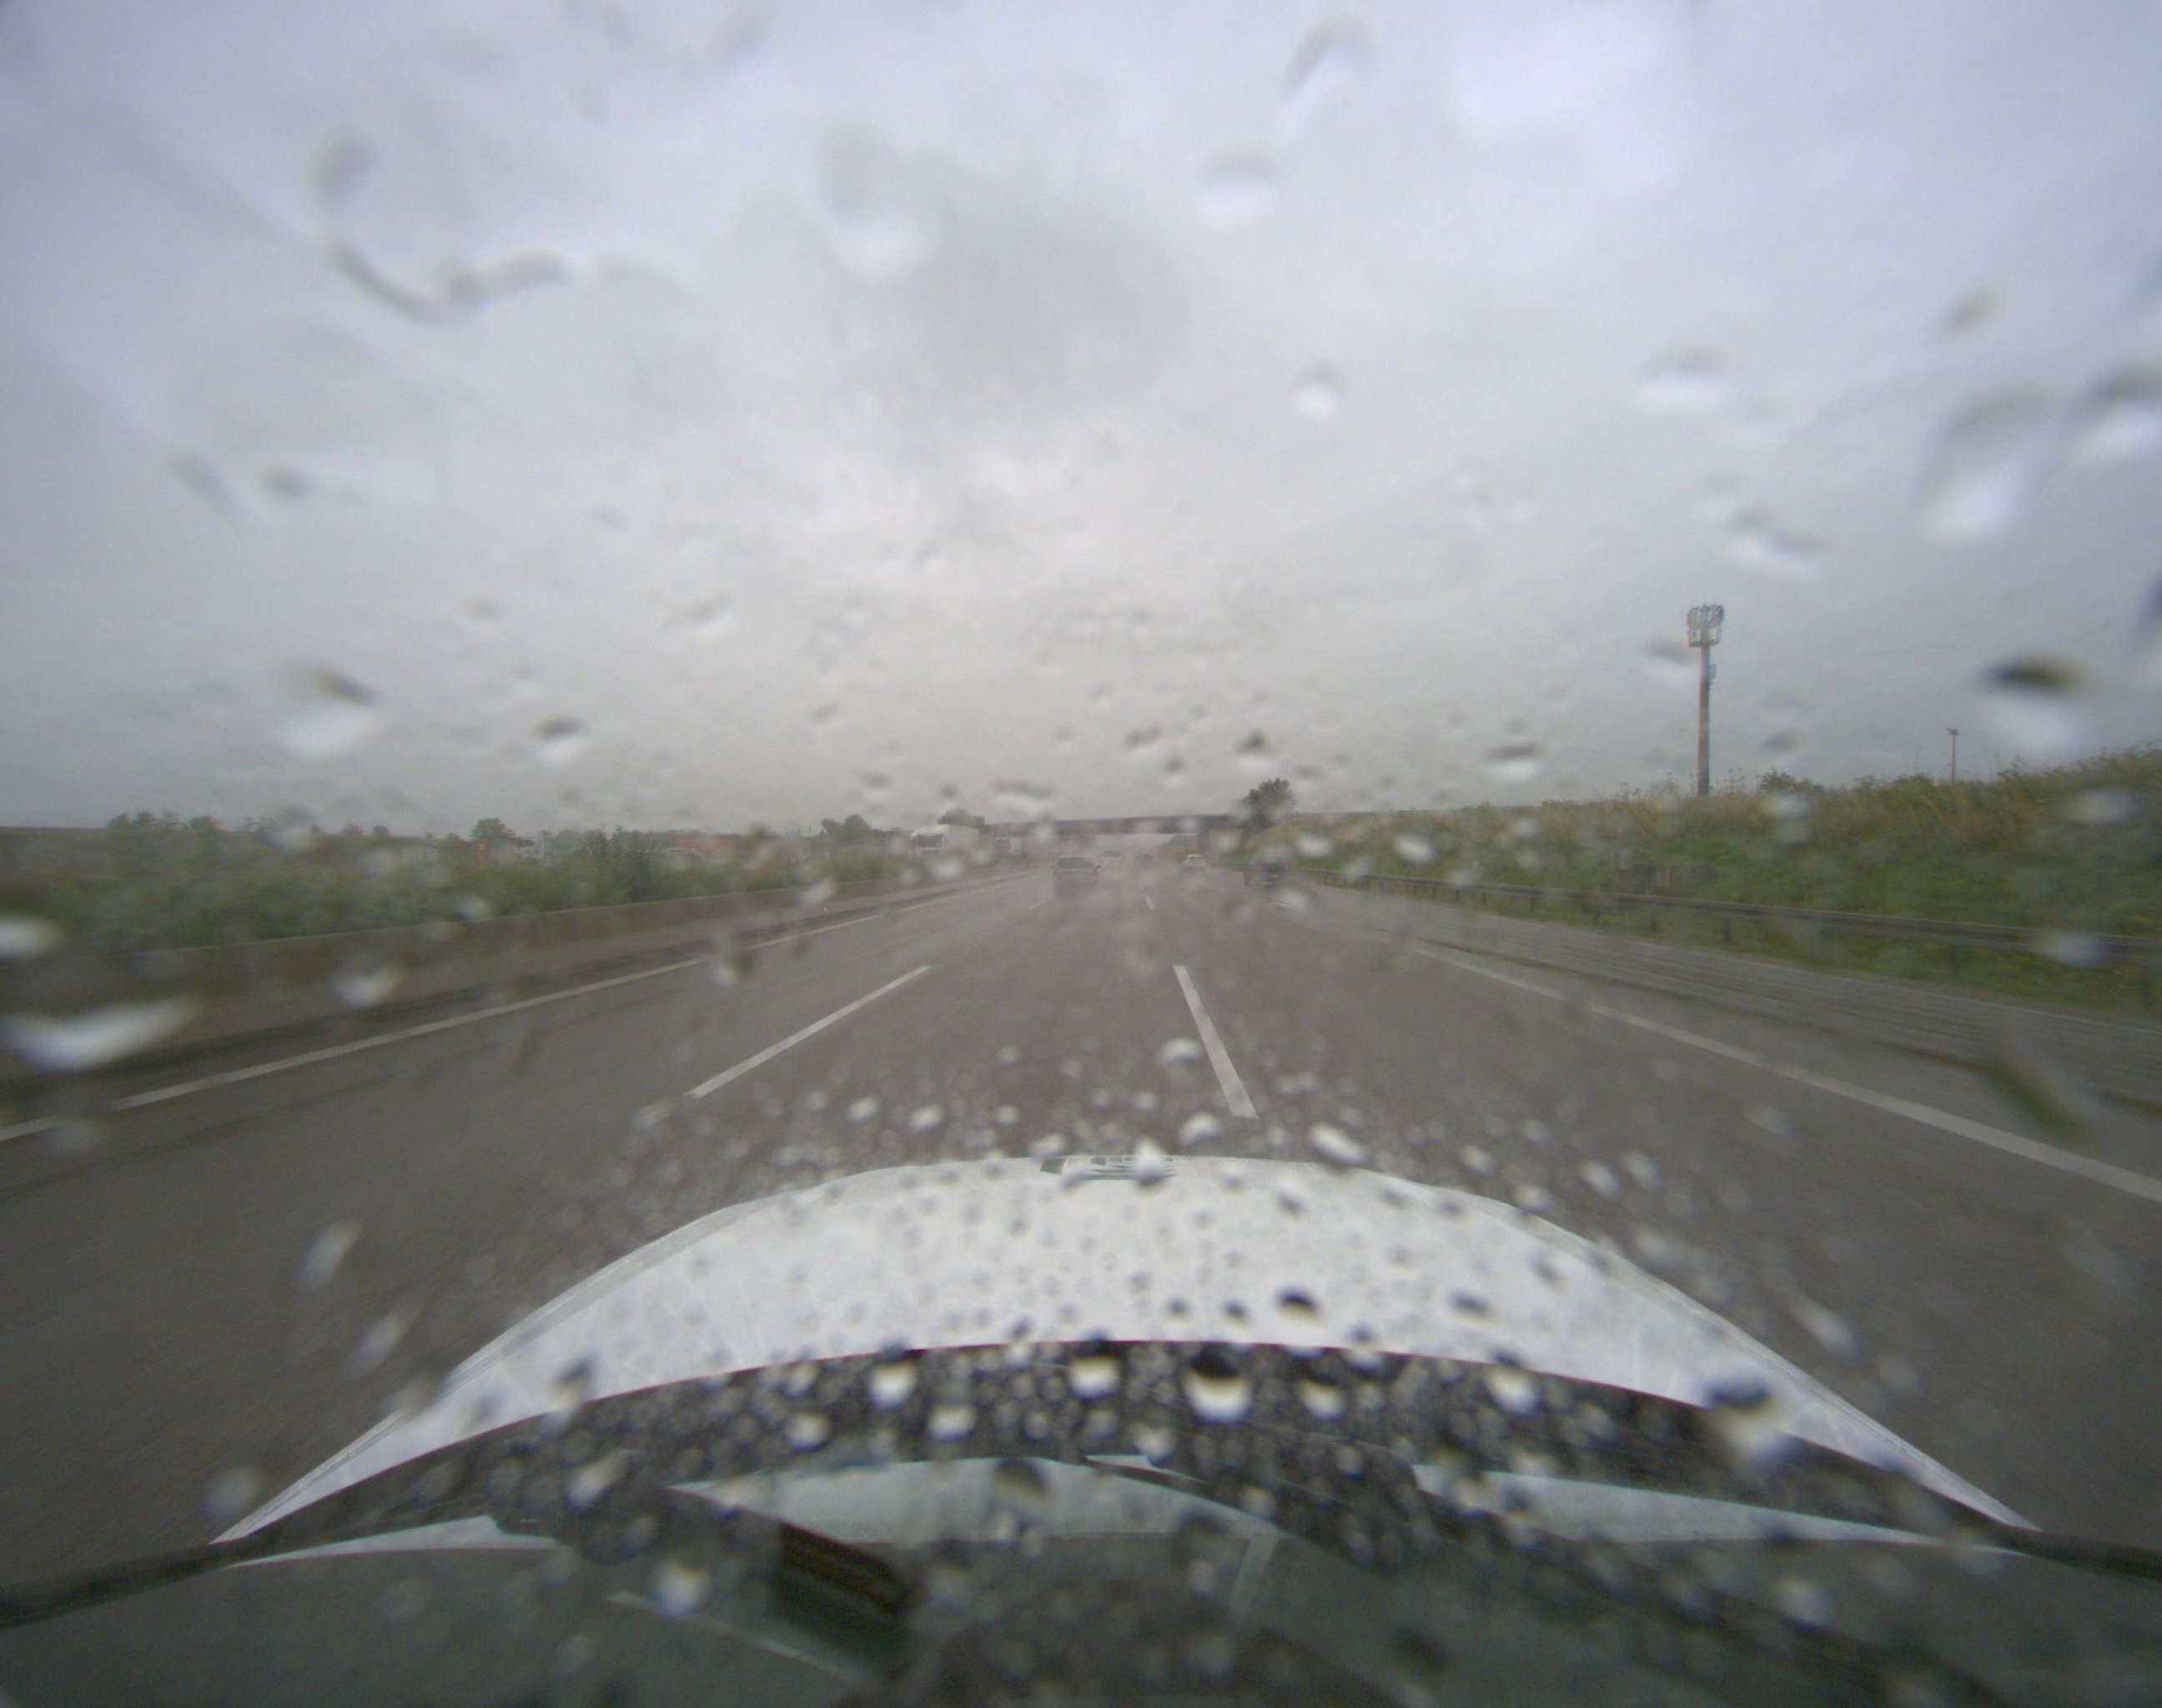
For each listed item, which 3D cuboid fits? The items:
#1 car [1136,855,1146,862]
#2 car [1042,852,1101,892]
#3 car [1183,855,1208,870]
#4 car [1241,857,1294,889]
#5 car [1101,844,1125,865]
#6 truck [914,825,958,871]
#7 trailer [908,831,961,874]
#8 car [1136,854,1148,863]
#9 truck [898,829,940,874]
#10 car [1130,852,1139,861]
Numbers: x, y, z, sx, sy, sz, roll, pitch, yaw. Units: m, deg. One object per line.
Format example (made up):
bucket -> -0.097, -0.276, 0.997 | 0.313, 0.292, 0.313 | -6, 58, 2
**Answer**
car -> 12.223, 0.853, 166.029 | 1.985, 1.464, 4.003 | 0, 0, 3
car -> -0.307, 0.695, 33.207 | 1.837, 1.513, 4.764 | -1, 0, 6
car -> 10.028, 0.719, 71.808 | 1.984, 1.266, 4.006 | 0, -1, 5
car -> 8.823, 0.867, 38.795 | 1.726, 1.421, 3.658 | 0, 0, 0
car -> 2.666, 0.059, 66.420 | 1.889, 1.585, 4.003 | 0, -1, 3
truck -> -12.506, -0.508, 70.594 | 2.748, 3.847, 4.823 | 0, 0, 3
trailer -> -15.585, -0.203, 87.787 | 2.807, 4.251, 13.243 | 0, 0, 2
car -> 10.458, 0.744, 139.322 | 1.794, 1.508, 4.000 | 0, -1, 1
truck -> -15.844, -0.220, 80.181 | 2.748, 4.295, 5.843 | 0, 0, 2
car -> 12.414, 0.544, 188.508 | 1.987, 2.101, 4.000 | 0, 0, 0
